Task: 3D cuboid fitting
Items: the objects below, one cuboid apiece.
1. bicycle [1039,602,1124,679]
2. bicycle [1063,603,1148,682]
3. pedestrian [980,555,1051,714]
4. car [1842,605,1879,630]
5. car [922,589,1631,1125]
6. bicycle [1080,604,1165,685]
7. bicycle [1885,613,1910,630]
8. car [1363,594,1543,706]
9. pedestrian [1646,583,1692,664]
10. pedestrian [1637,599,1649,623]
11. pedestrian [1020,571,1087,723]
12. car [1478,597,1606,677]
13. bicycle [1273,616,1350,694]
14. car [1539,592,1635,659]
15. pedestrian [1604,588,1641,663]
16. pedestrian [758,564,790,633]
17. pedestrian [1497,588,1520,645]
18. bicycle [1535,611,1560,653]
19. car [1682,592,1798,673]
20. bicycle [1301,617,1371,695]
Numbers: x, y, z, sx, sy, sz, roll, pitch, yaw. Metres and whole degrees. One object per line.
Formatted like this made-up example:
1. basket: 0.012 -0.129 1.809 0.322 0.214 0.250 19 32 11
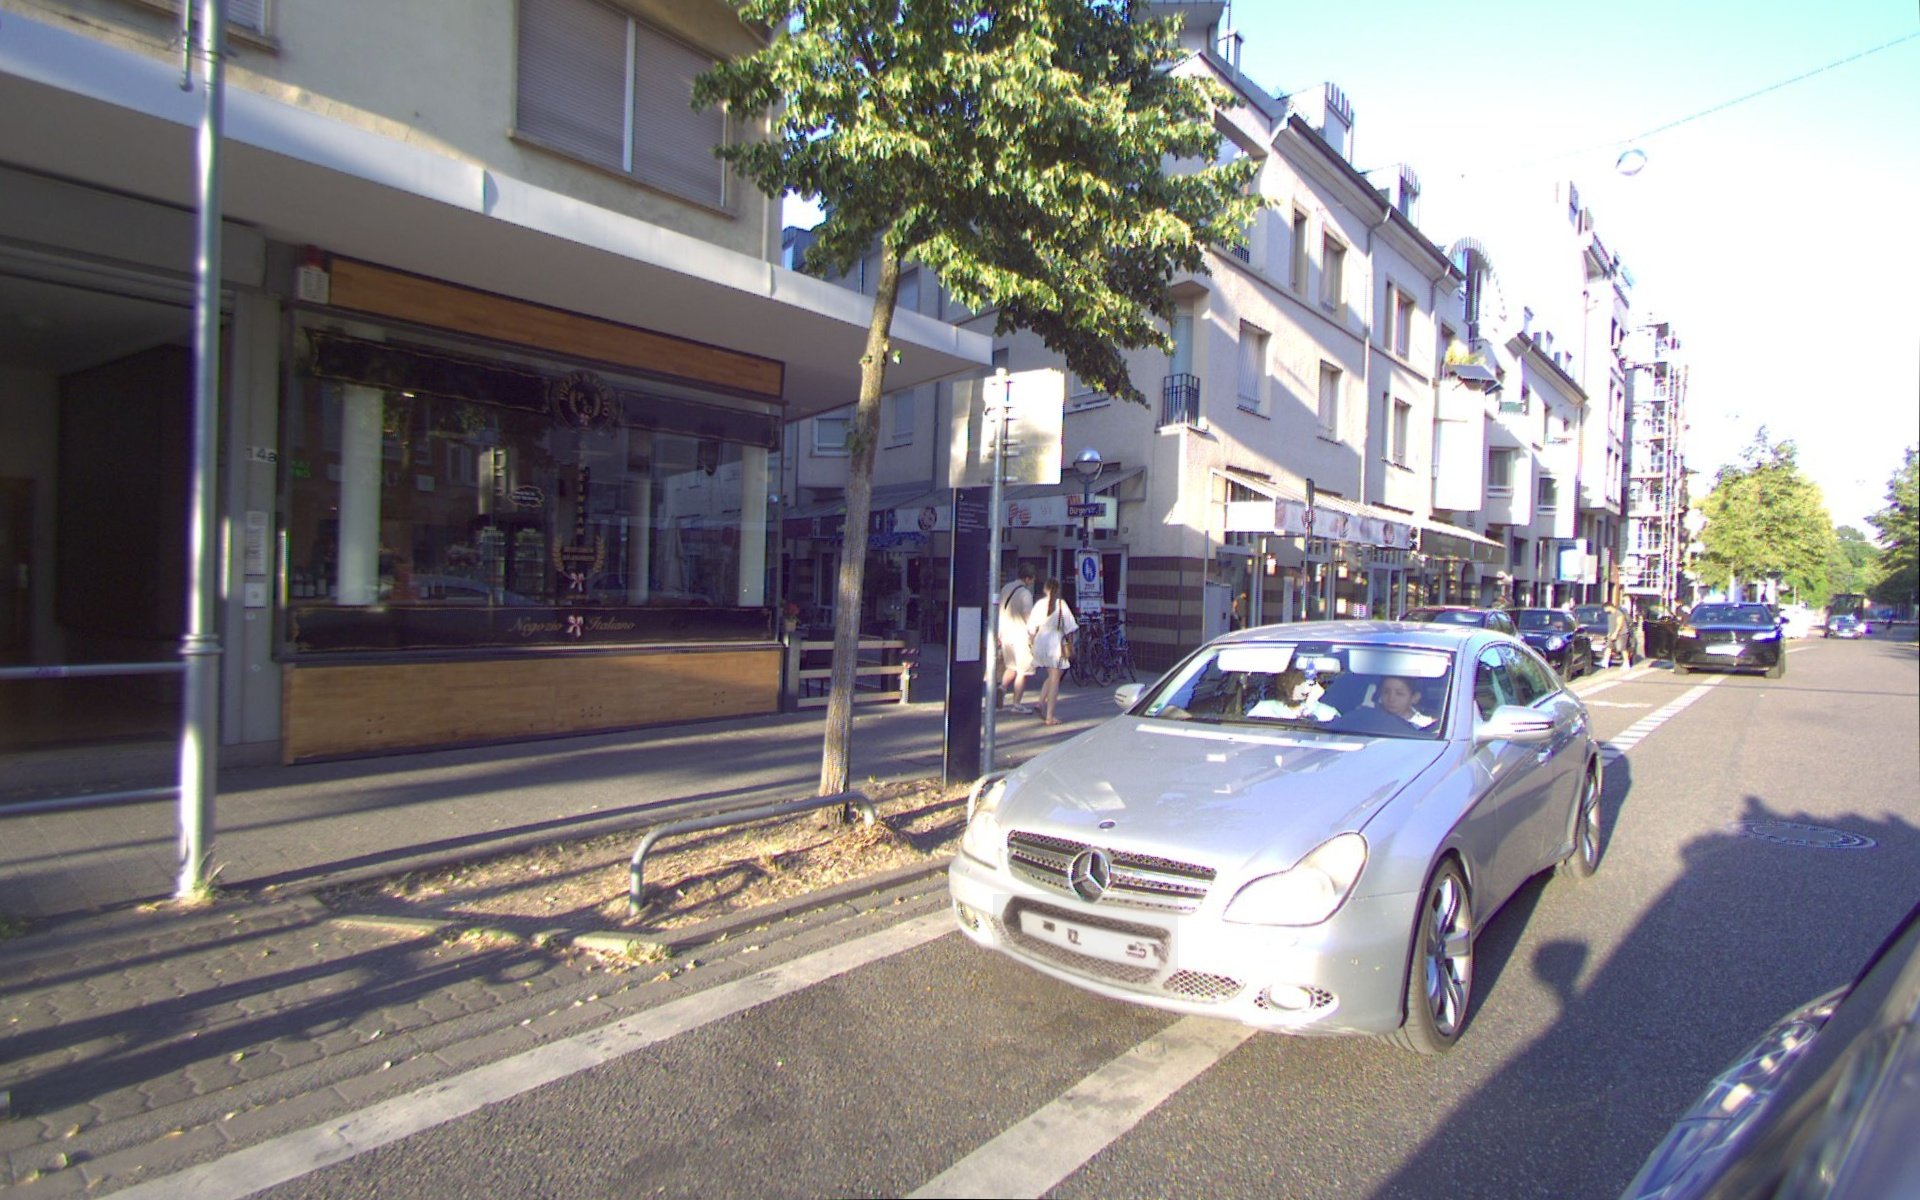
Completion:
1. bicycle: 1.913 0.602 15.730 0.320 1.118 1.851 2 1 41
2. bicycle: 2.242 0.624 15.426 0.290 1.118 1.859 2 1 41
3. pedestrian: 0.649 0.383 11.825 0.543 1.779 0.495 5 3 41
4. car: 55.798 1.032 62.741 1.616 1.492 3.634 0 0 41
5. car: 1.990 0.764 5.026 1.740 1.419 4.571 -1 -2 40
6. bicycle: 2.467 0.637 15.216 0.320 1.118 1.851 2 1 41
7. bicycle: 70.768 1.627 76.390 2.933 1.248 0.859 1 1 -36
8. car: 7.756 0.688 15.760 1.587 1.451 3.868 4 2 40
9. pedestrian: 16.938 0.563 24.173 0.776 1.907 0.660 -2 -2 41
10. pedestrian: 36.371 0.572 53.921 0.490 1.279 0.415 0 0 42
11. pedestrian: 1.037 0.507 11.260 0.519 1.612 0.402 5 3 41
12. car: 12.185 0.706 21.076 1.615 1.452 3.868 3 2 40
13. bicycle: 5.266 0.797 15.110 0.314 1.059 1.853 3 2 43
14. car: 16.713 0.622 26.901 1.615 1.612 3.868 2 1 40
15. pedestrian: 16.056 0.597 24.523 0.629 1.771 0.660 3 1 41
16. pedestrian: -4.746 -0.050 25.807 0.688 1.696 0.799 2 2 -13
17. pedestrian: 17.835 0.532 32.924 0.574 1.823 0.443 0 -1 43
18. bicycle: 16.247 0.874 27.981 0.295 1.099 1.441 1 1 41
19. car: 17.920 0.674 23.180 1.884 1.656 4.165 0 0 41
20. bicycle: 5.556 0.799 14.915 0.314 1.059 1.638 3 2 43
